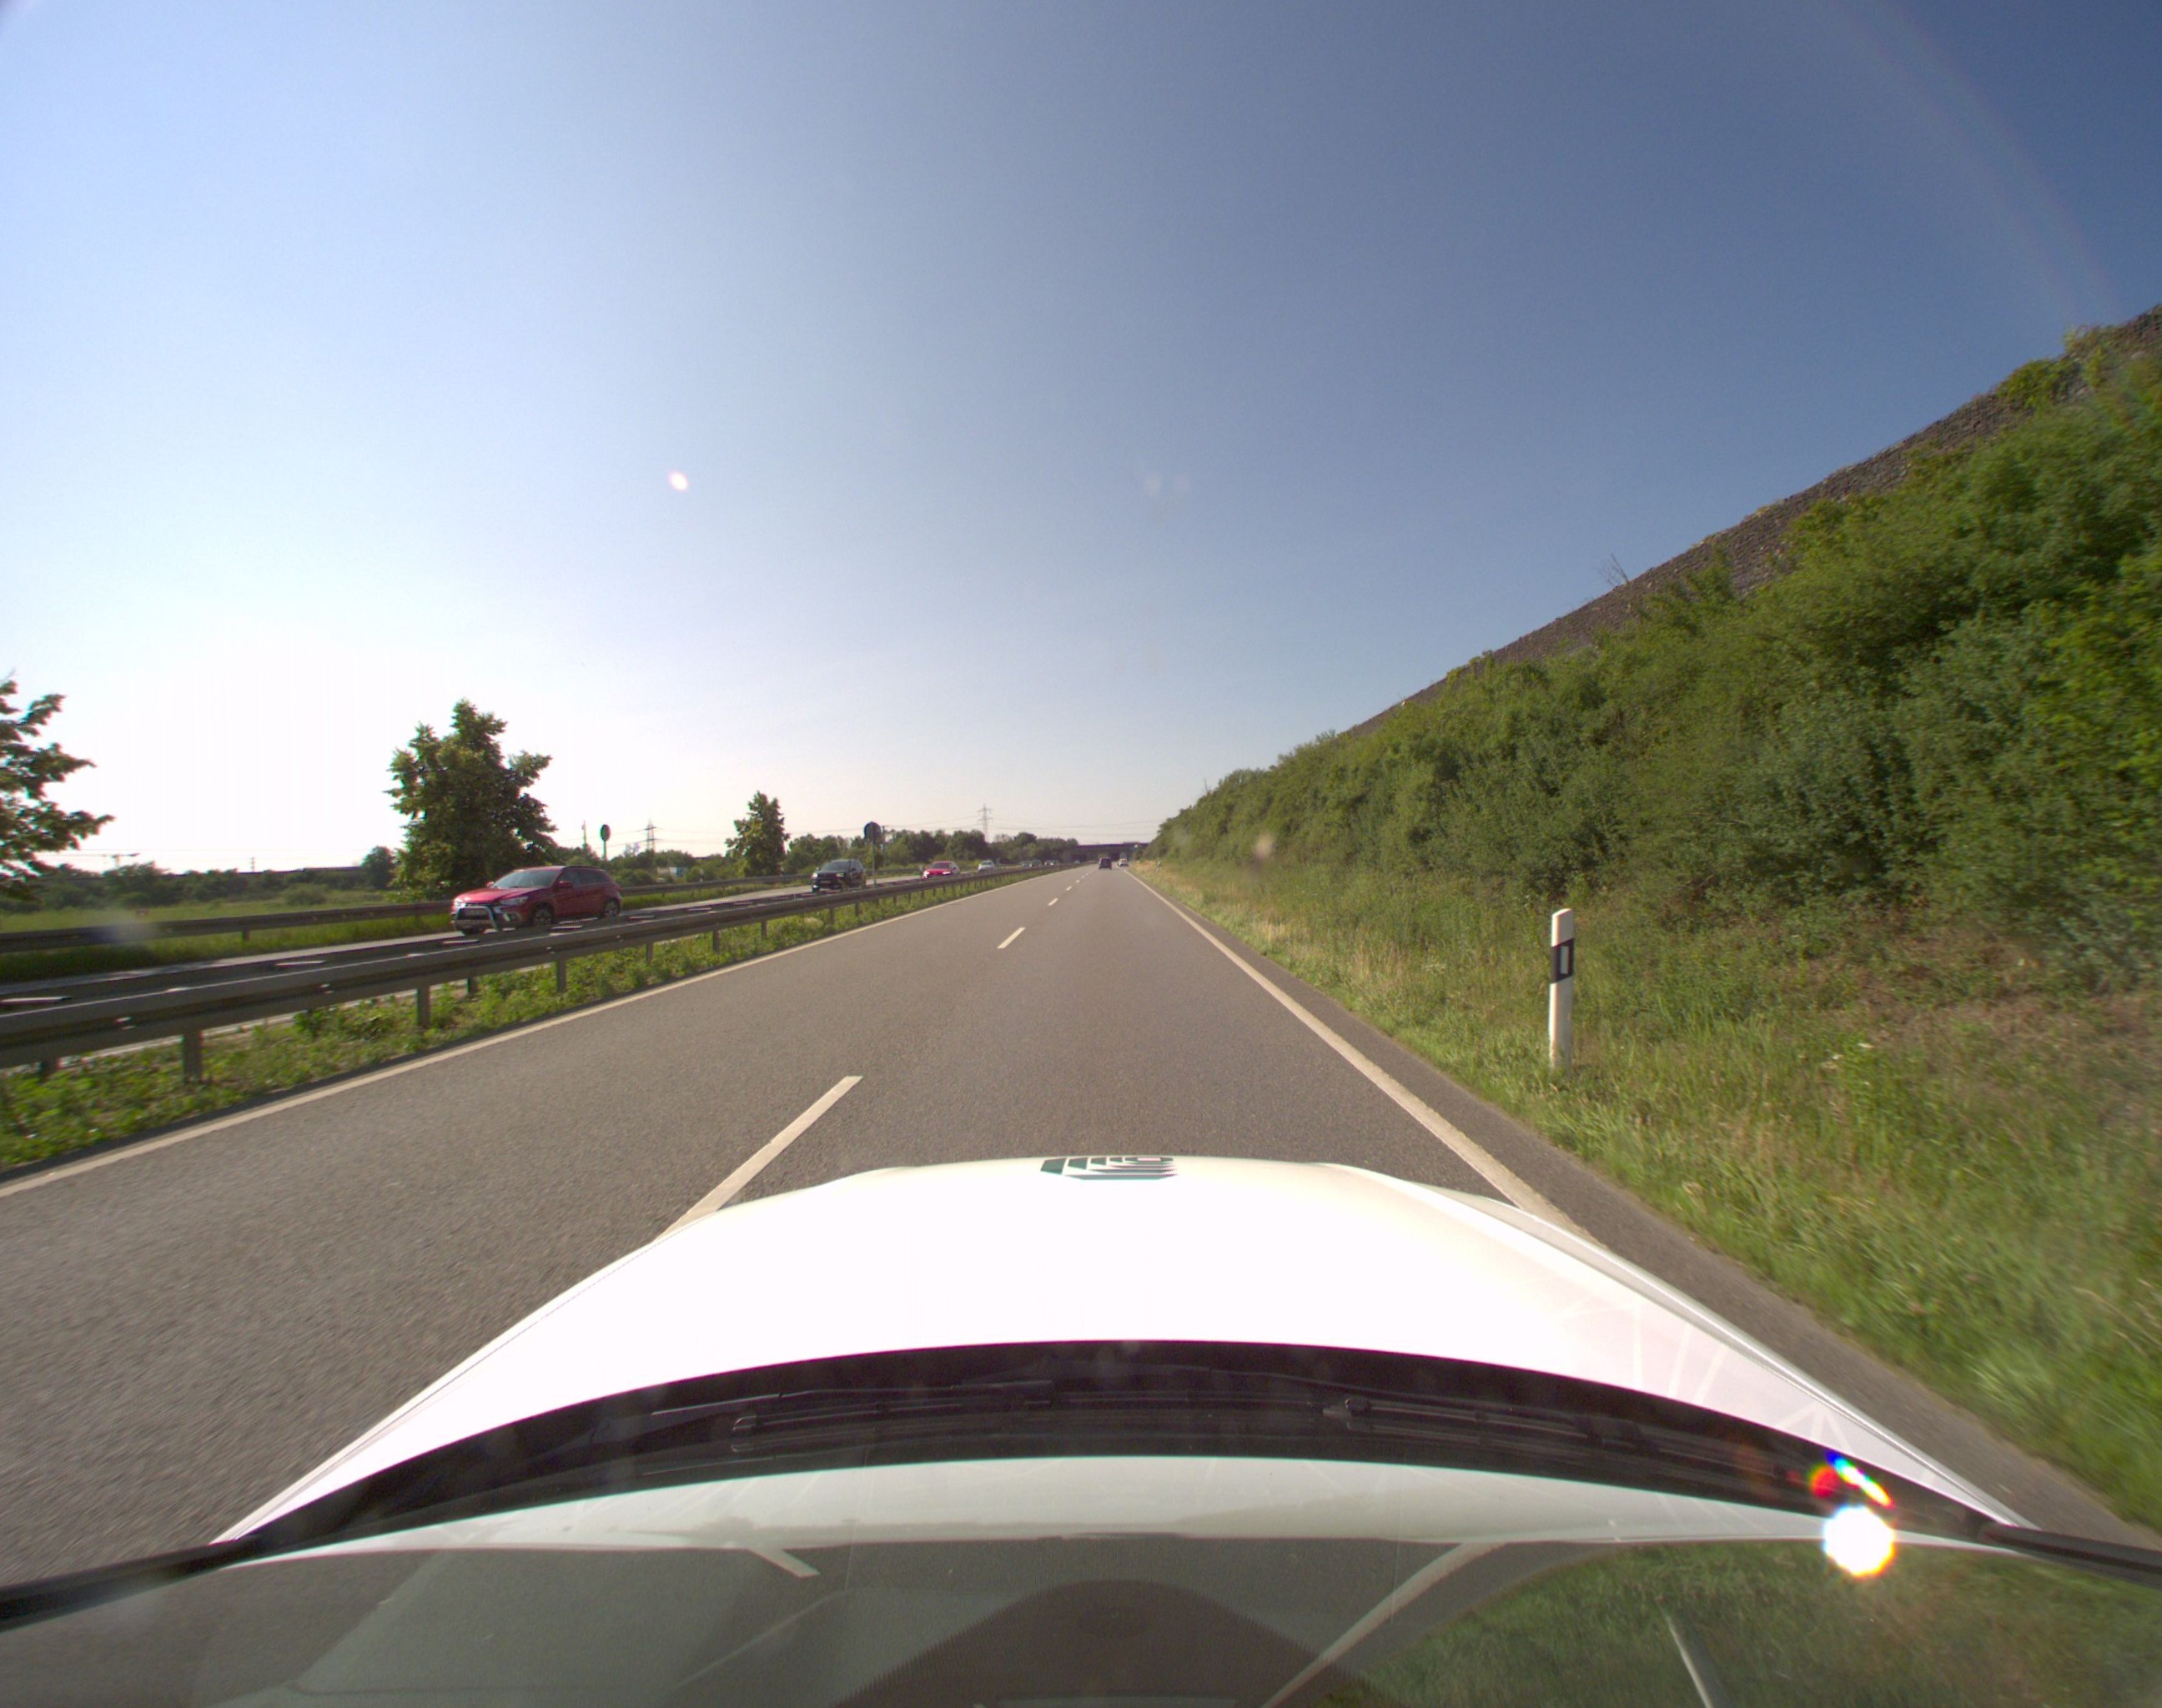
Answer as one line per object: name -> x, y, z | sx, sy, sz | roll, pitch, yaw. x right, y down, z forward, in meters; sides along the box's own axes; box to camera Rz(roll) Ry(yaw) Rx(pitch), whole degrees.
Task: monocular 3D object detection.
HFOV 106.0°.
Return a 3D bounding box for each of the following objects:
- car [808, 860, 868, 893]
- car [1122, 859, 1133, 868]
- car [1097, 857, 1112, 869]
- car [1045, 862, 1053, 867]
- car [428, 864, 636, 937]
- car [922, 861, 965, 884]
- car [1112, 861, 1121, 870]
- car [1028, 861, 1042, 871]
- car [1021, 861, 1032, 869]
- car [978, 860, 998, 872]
car -> -12.591, 1.125, 42.433 | 1.719, 1.595, 4.222 | 0, -1, 2
car -> 8.646, 1.791, 151.225 | 1.787, 1.665, 4.007 | 1, 0, 7
car -> 3.294, 1.271, 112.956 | 1.841, 1.644, 4.005 | -1, -1, 4
car -> -8.288, 2.714, 210.868 | 1.808, 1.473, 4.325 | 0, 0, 2
car -> -13.472, 1.060, 20.440 | 1.836, 1.593, 4.775 | 0, 0, 2
car -> -9.166, 1.208, 54.707 | 1.869, 1.493, 5.097 | 0, -1, 2
car -> 8.173, 2.584, 188.186 | 1.986, 2.014, 4.001 | 1, 0, 2
car -> -7.063, 1.852, 124.351 | 1.706, 1.470, 4.417 | 1, -1, 2
car -> -10.160, 2.140, 153.261 | 1.707, 1.450, 4.323 | -1, -1, 0
car -> -11.551, 1.519, 101.056 | 1.814, 1.396, 4.417 | 1, -1, 2
